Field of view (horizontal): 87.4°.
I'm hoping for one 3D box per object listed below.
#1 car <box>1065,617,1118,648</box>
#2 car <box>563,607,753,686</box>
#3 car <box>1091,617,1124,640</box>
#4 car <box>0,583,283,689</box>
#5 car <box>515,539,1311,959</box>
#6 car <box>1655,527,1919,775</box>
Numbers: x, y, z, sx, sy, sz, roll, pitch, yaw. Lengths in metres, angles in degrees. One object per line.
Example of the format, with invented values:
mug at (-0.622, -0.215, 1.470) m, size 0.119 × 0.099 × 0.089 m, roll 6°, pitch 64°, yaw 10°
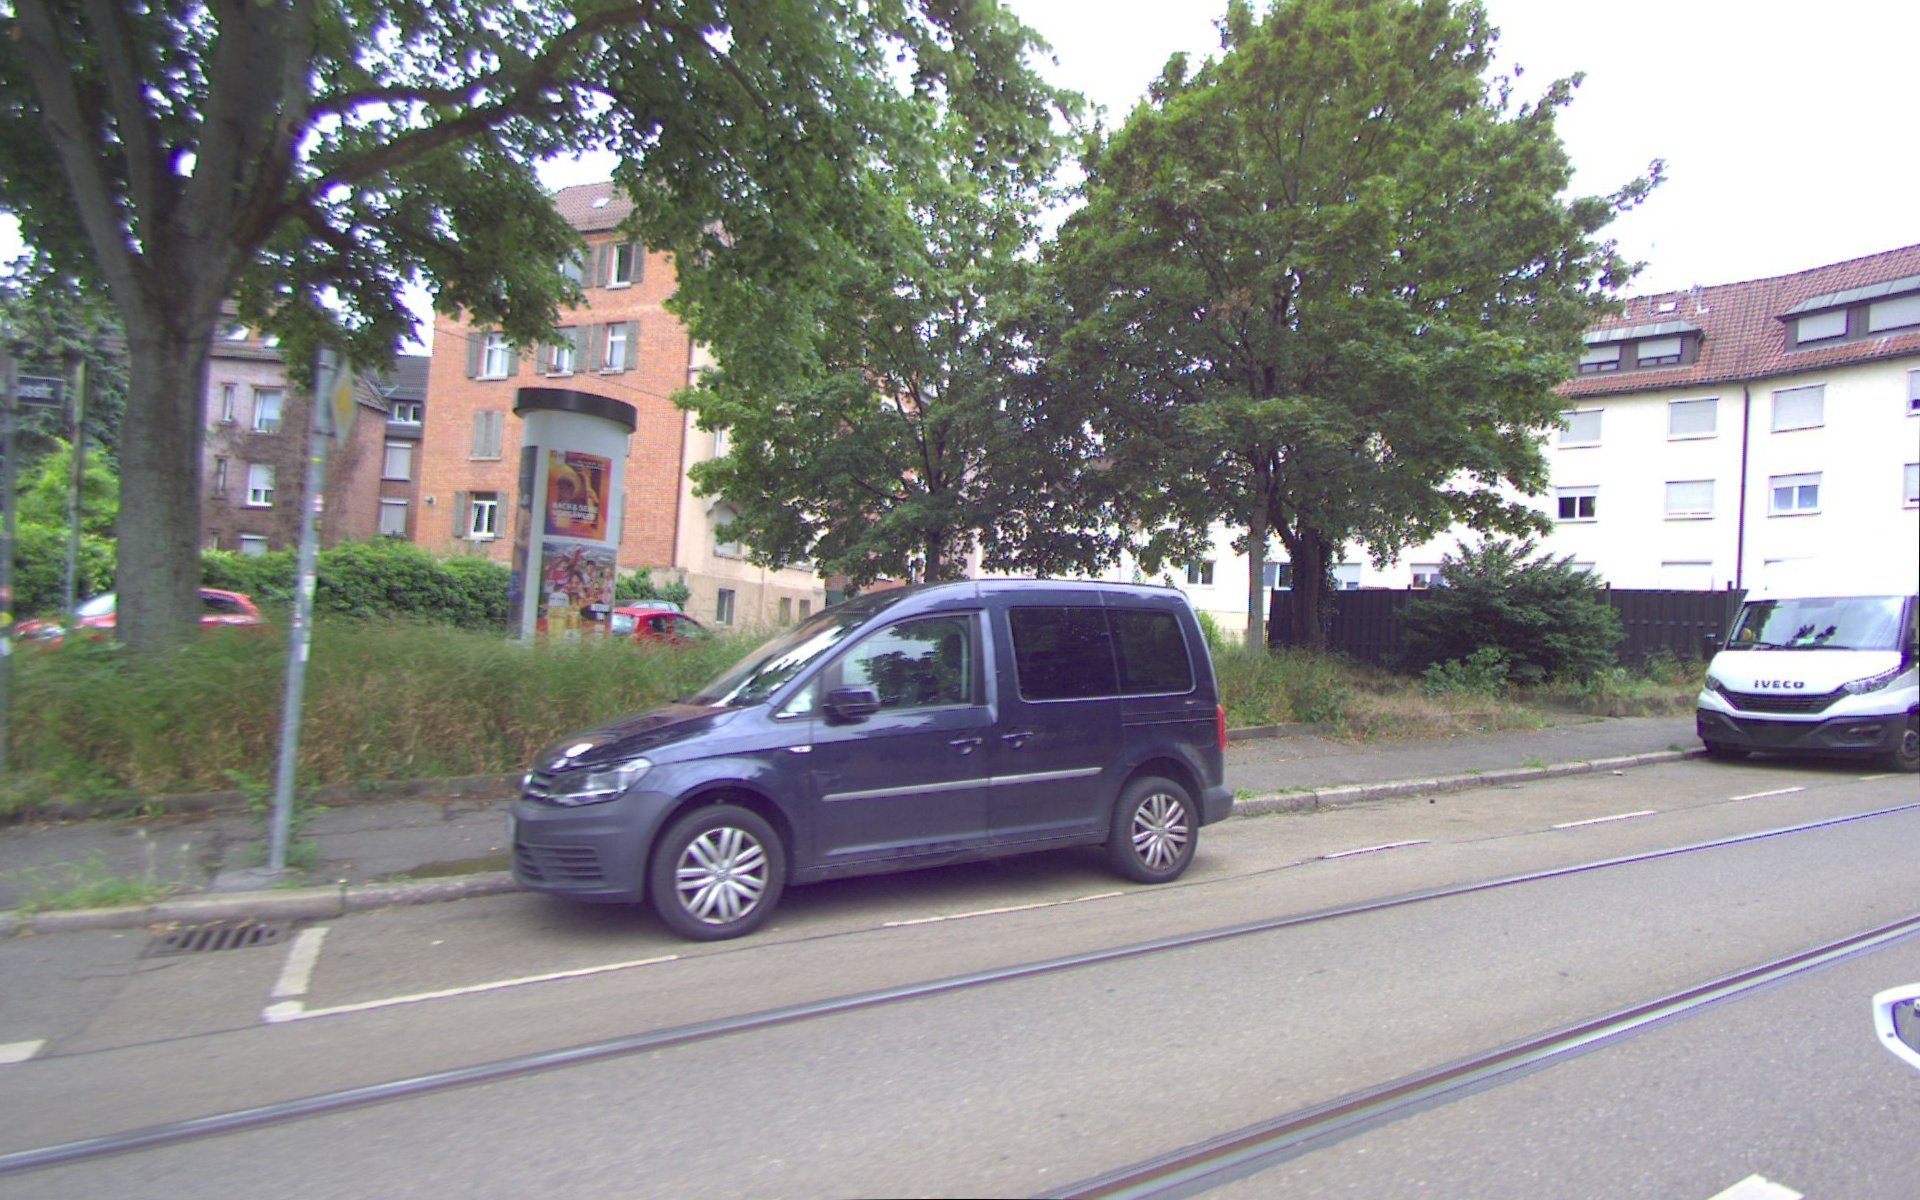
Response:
car at (6.754, 1.648, 51.381) m, size 1.644 × 1.434 × 3.728 m, roll 2°, pitch 0°, yaw 24°
car at (-6.167, 0.899, 20.901) m, size 1.622 × 1.434 × 3.726 m, roll 2°, pitch 0°, yaw 27°
car at (10.878, 2.116, 73.900) m, size 1.429 × 1.498 × 3.780 m, roll 2°, pitch -2°, yaw 23°
car at (-13.572, 0.545, 16.554) m, size 1.716 × 1.497 × 3.612 m, roll 2°, pitch 0°, yaw 24°
car at (-0.159, 0.756, 6.223) m, size 4.611 × 1.798 × 1.755 m, roll 2°, pitch -4°, yaw -29°
car at (11.884, 0.663, 13.239) m, size 6.149 × 2.640 × 2.148 m, roll 2°, pitch -4°, yaw -32°
